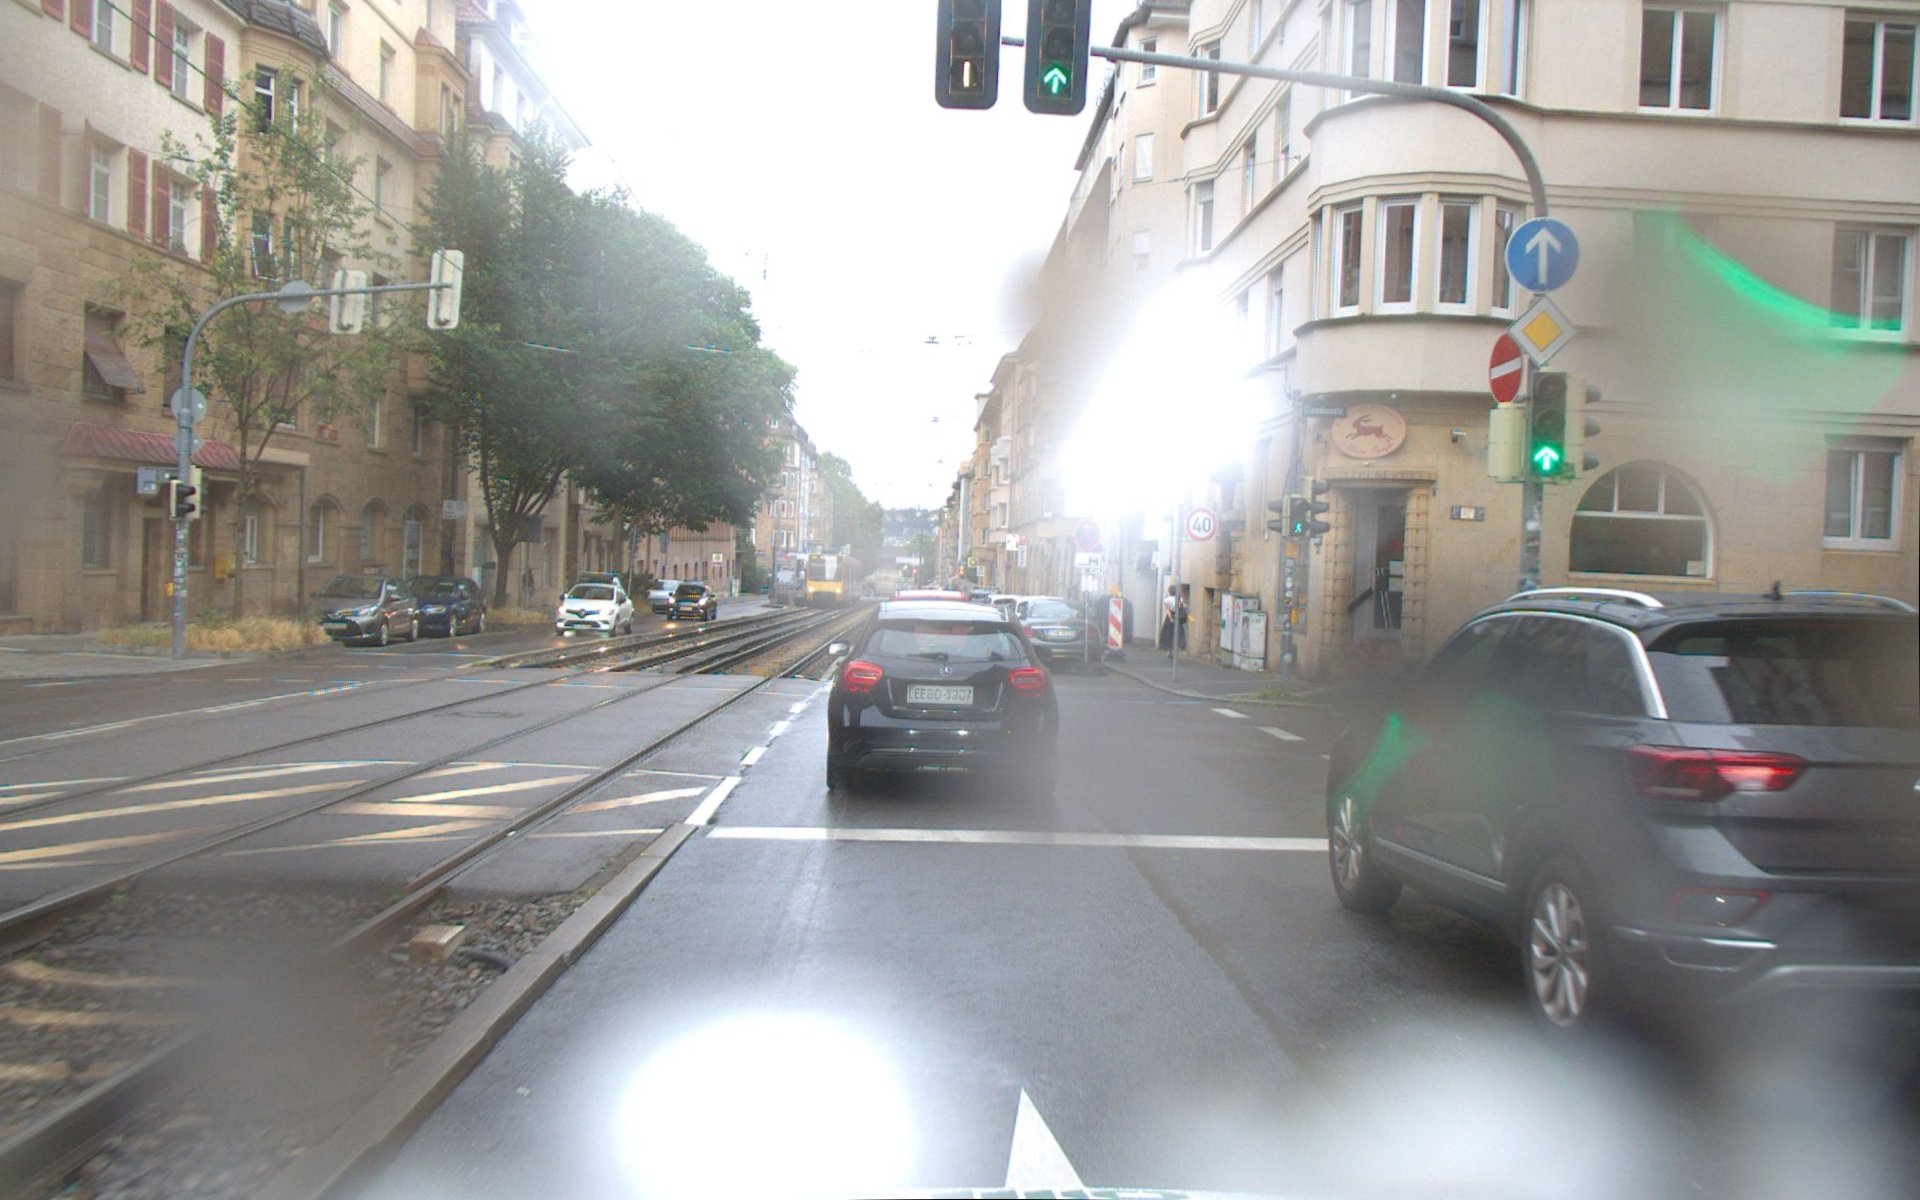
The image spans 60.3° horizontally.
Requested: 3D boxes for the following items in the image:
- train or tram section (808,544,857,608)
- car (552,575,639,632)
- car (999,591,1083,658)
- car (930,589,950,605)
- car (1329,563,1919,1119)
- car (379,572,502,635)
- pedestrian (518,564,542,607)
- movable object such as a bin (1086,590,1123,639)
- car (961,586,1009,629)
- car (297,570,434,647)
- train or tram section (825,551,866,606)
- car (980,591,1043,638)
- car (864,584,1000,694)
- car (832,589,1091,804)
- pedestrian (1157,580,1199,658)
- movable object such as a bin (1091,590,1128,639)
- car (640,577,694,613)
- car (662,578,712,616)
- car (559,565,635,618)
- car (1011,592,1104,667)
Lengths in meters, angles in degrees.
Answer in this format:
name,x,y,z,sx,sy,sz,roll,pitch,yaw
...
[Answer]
name,x,y,z,sx,sy,sz,roll,pitch,yaw
train or tram section,-8.864,-1.660,116.859,2.690,4.132,17.207,1,0,-2
car,-10.435,0.100,47.575,1.745,1.529,4.060,1,0,-3
car,1.896,0.580,39.960,1.677,1.493,4.772,1,0,-1
car,-1.972,-0.300,164.472,1.848,1.552,4.245,2,0,0
car,2.931,0.713,6.772,1.830,1.576,3.990,2,0,-1
car,-13.074,0.098,41.924,1.745,1.485,4.975,1,0,-3
pedestrian,-17.116,-0.568,65.886,0.713,1.692,0.770,2,0,-2
movable object such as a bin,4.576,0.453,52.372,0.997,1.494,1.322,1,-1,-2
car,0.979,0.301,65.483,1.803,1.636,4.760,1,0,1
car,-12.985,0.184,36.369,1.656,1.556,4.173,1,0,-3
train or tram section,-9.091,-1.713,133.299,2.690,4.132,15.655,1,0,-2
car,1.600,0.472,53.015,1.753,1.410,4.393,1,0,-2
car,-0.456,0.572,26.634,1.953,1.552,4.244,2,0,-1
car,-0.025,0.678,13.612,1.797,1.478,3.901,1,0,-1
pedestrian,4.840,0.417,36.790,0.788,1.717,0.754,1,-1,-2
movable object such as a bin,4.587,0.443,50.876,0.960,1.494,1.272,1,-1,-2
car,-14.163,-0.273,80.122,1.922,1.633,4.327,2,1,-2
car,-11.217,-0.135,68.095,1.620,1.488,3.732,0,0,-3
car,-13.727,-0.338,62.863,1.914,1.772,4.776,4,1,-3
car,1.973,0.591,34.594,1.675,1.435,4.817,1,0,0
